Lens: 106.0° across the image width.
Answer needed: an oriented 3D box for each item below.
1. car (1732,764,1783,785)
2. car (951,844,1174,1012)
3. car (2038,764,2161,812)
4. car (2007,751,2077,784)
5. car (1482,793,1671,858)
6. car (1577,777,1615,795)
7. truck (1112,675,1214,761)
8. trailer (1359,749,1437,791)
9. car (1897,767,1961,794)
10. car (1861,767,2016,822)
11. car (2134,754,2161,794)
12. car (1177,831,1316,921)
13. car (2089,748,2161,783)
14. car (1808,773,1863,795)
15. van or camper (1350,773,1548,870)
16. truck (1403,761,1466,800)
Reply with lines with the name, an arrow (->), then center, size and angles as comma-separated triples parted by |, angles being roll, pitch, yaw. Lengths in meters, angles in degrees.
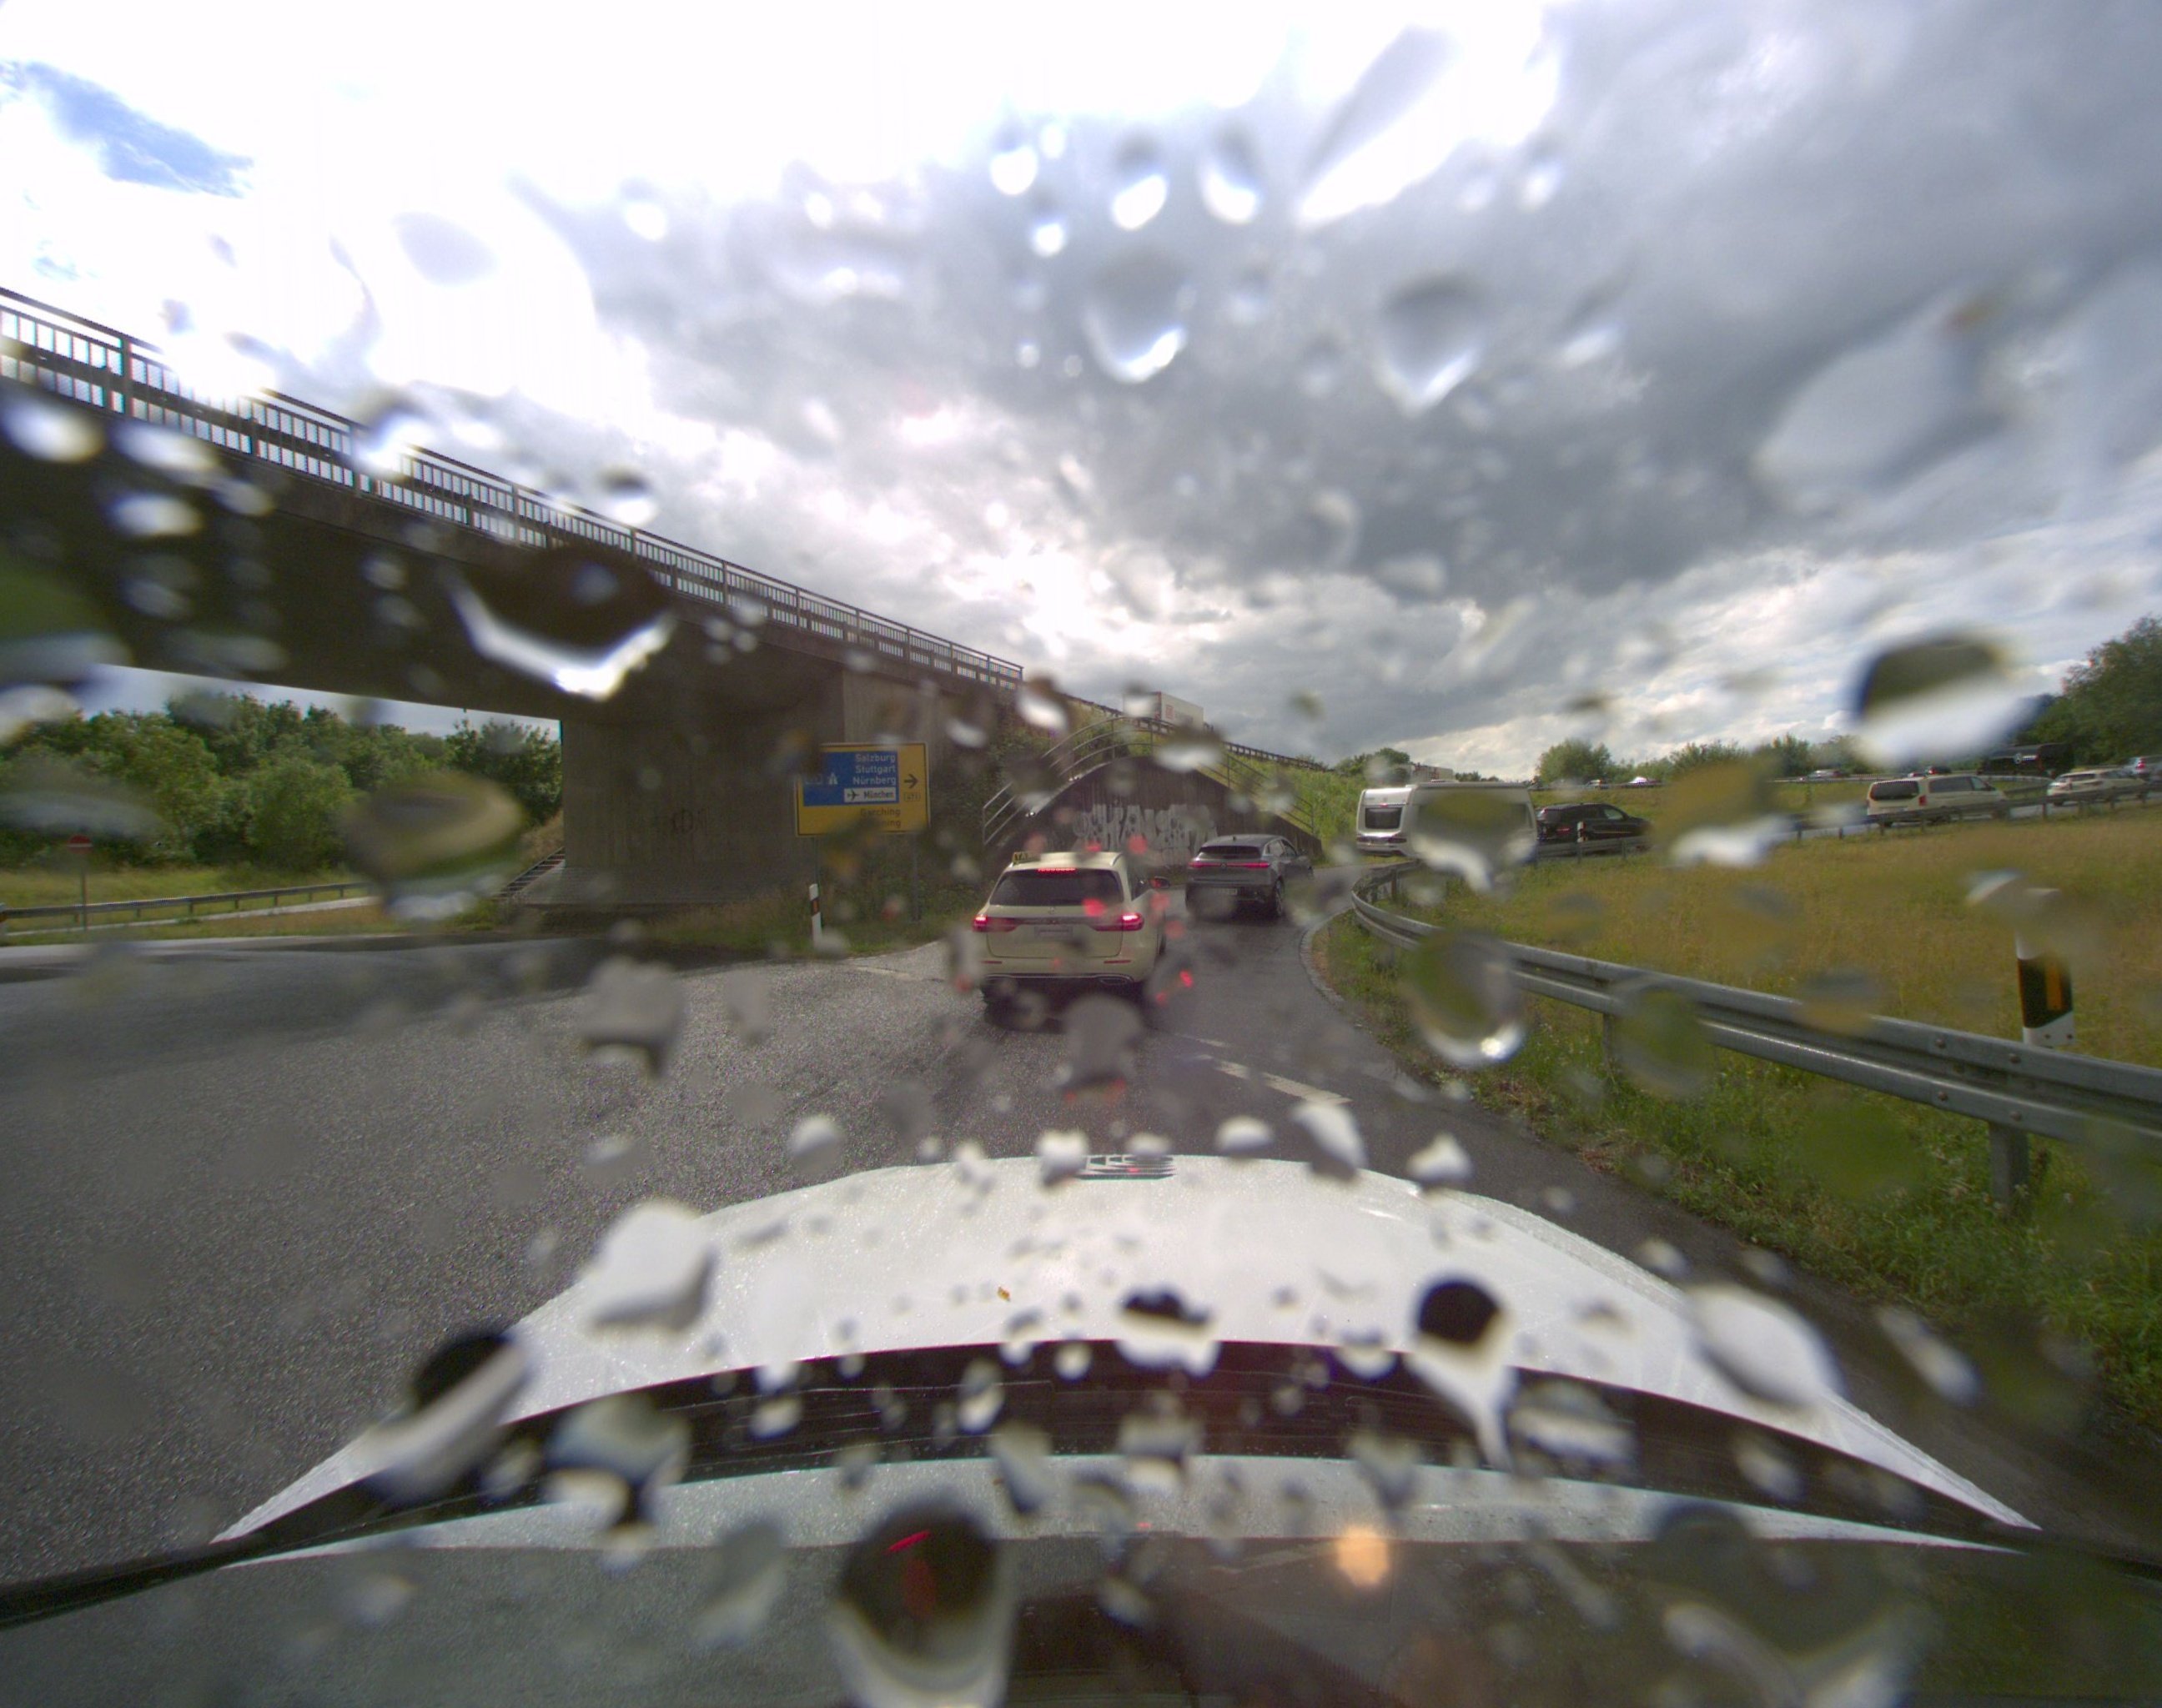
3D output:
car -> 73.855, -8.643, 88.938 | 1.994, 2.013, 3.985 | -1, 1, -11
car -> 0.073, 0.664, 9.657 | 1.905, 1.507, 4.606 | -1, 0, 8
car -> 45.505, -2.940, 36.321 | 5.057, 1.861, 1.987 | -3, 1, -20
car -> 71.068, -6.383, 60.299 | 1.975, 2.013, 4.025 | 0, 1, 28
car -> 17.084, -1.043, 28.137 | 5.756, 1.925, 2.422 | -3, 3, -18
car -> 70.195, -9.264, 111.090 | 2.004, 2.013, 3.966 | -2, 1, -26
truck -> 5.424, -8.355, 51.666 | 3.150, 3.966, 9.293 | 0, 1, 27
trailer -> 41.845, -10.764, 106.723 | 4.370, 3.955, 20.349 | 0, 1, 36
car -> 74.375, -6.424, 71.517 | 1.980, 2.013, 4.014 | -2, 1, 12
car -> 33.231, -2.313, 31.570 | 5.051, 1.861, 1.990 | -3, 1, -16
car -> 54.617, -4.041, 40.679 | 5.075, 1.861, 1.980 | -3, 1, -32
car -> 3.461, 0.339, 16.407 | 1.702, 1.524, 4.025 | -1, 2, 27
car -> 65.339, -5.471, 50.749 | 1.644, 1.784, 5.090 | -2, 1, 34
car -> 76.055, -7.066, 82.138 | 1.985, 2.013, 4.005 | -2, 3, 3
van or camper -> 11.797, -1.114, 26.062 | 6.010, 2.728, 2.419 | -3, 3, -24
truck -> 53.456, -10.805, 122.560 | 4.417, 4.502, 19.501 | 0, 1, 36
